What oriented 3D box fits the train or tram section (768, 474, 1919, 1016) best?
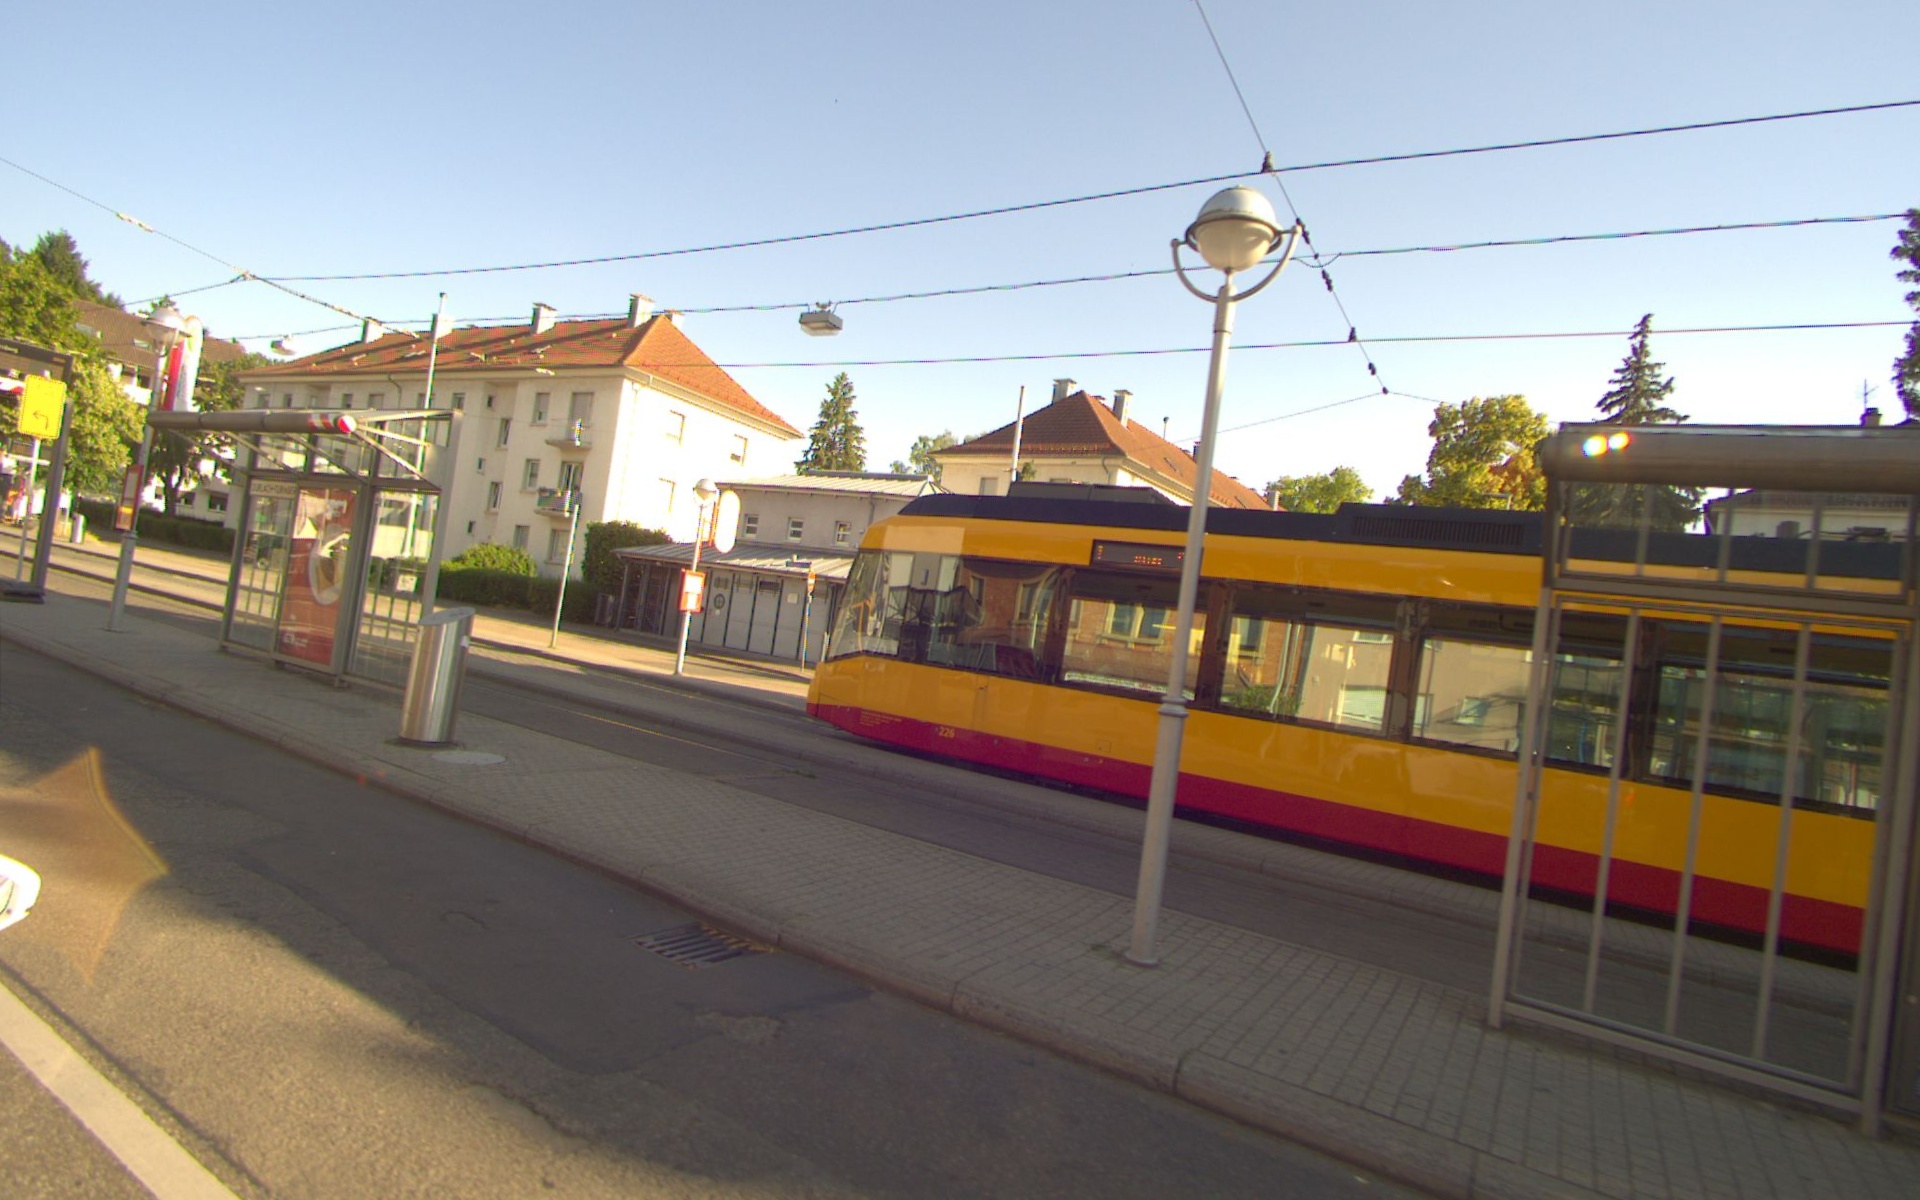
[{"bbox_3d":[5.165,1.017,9.863,15.707,3.575,2.963,6,-2,32],"label":"train or tram section"}]
